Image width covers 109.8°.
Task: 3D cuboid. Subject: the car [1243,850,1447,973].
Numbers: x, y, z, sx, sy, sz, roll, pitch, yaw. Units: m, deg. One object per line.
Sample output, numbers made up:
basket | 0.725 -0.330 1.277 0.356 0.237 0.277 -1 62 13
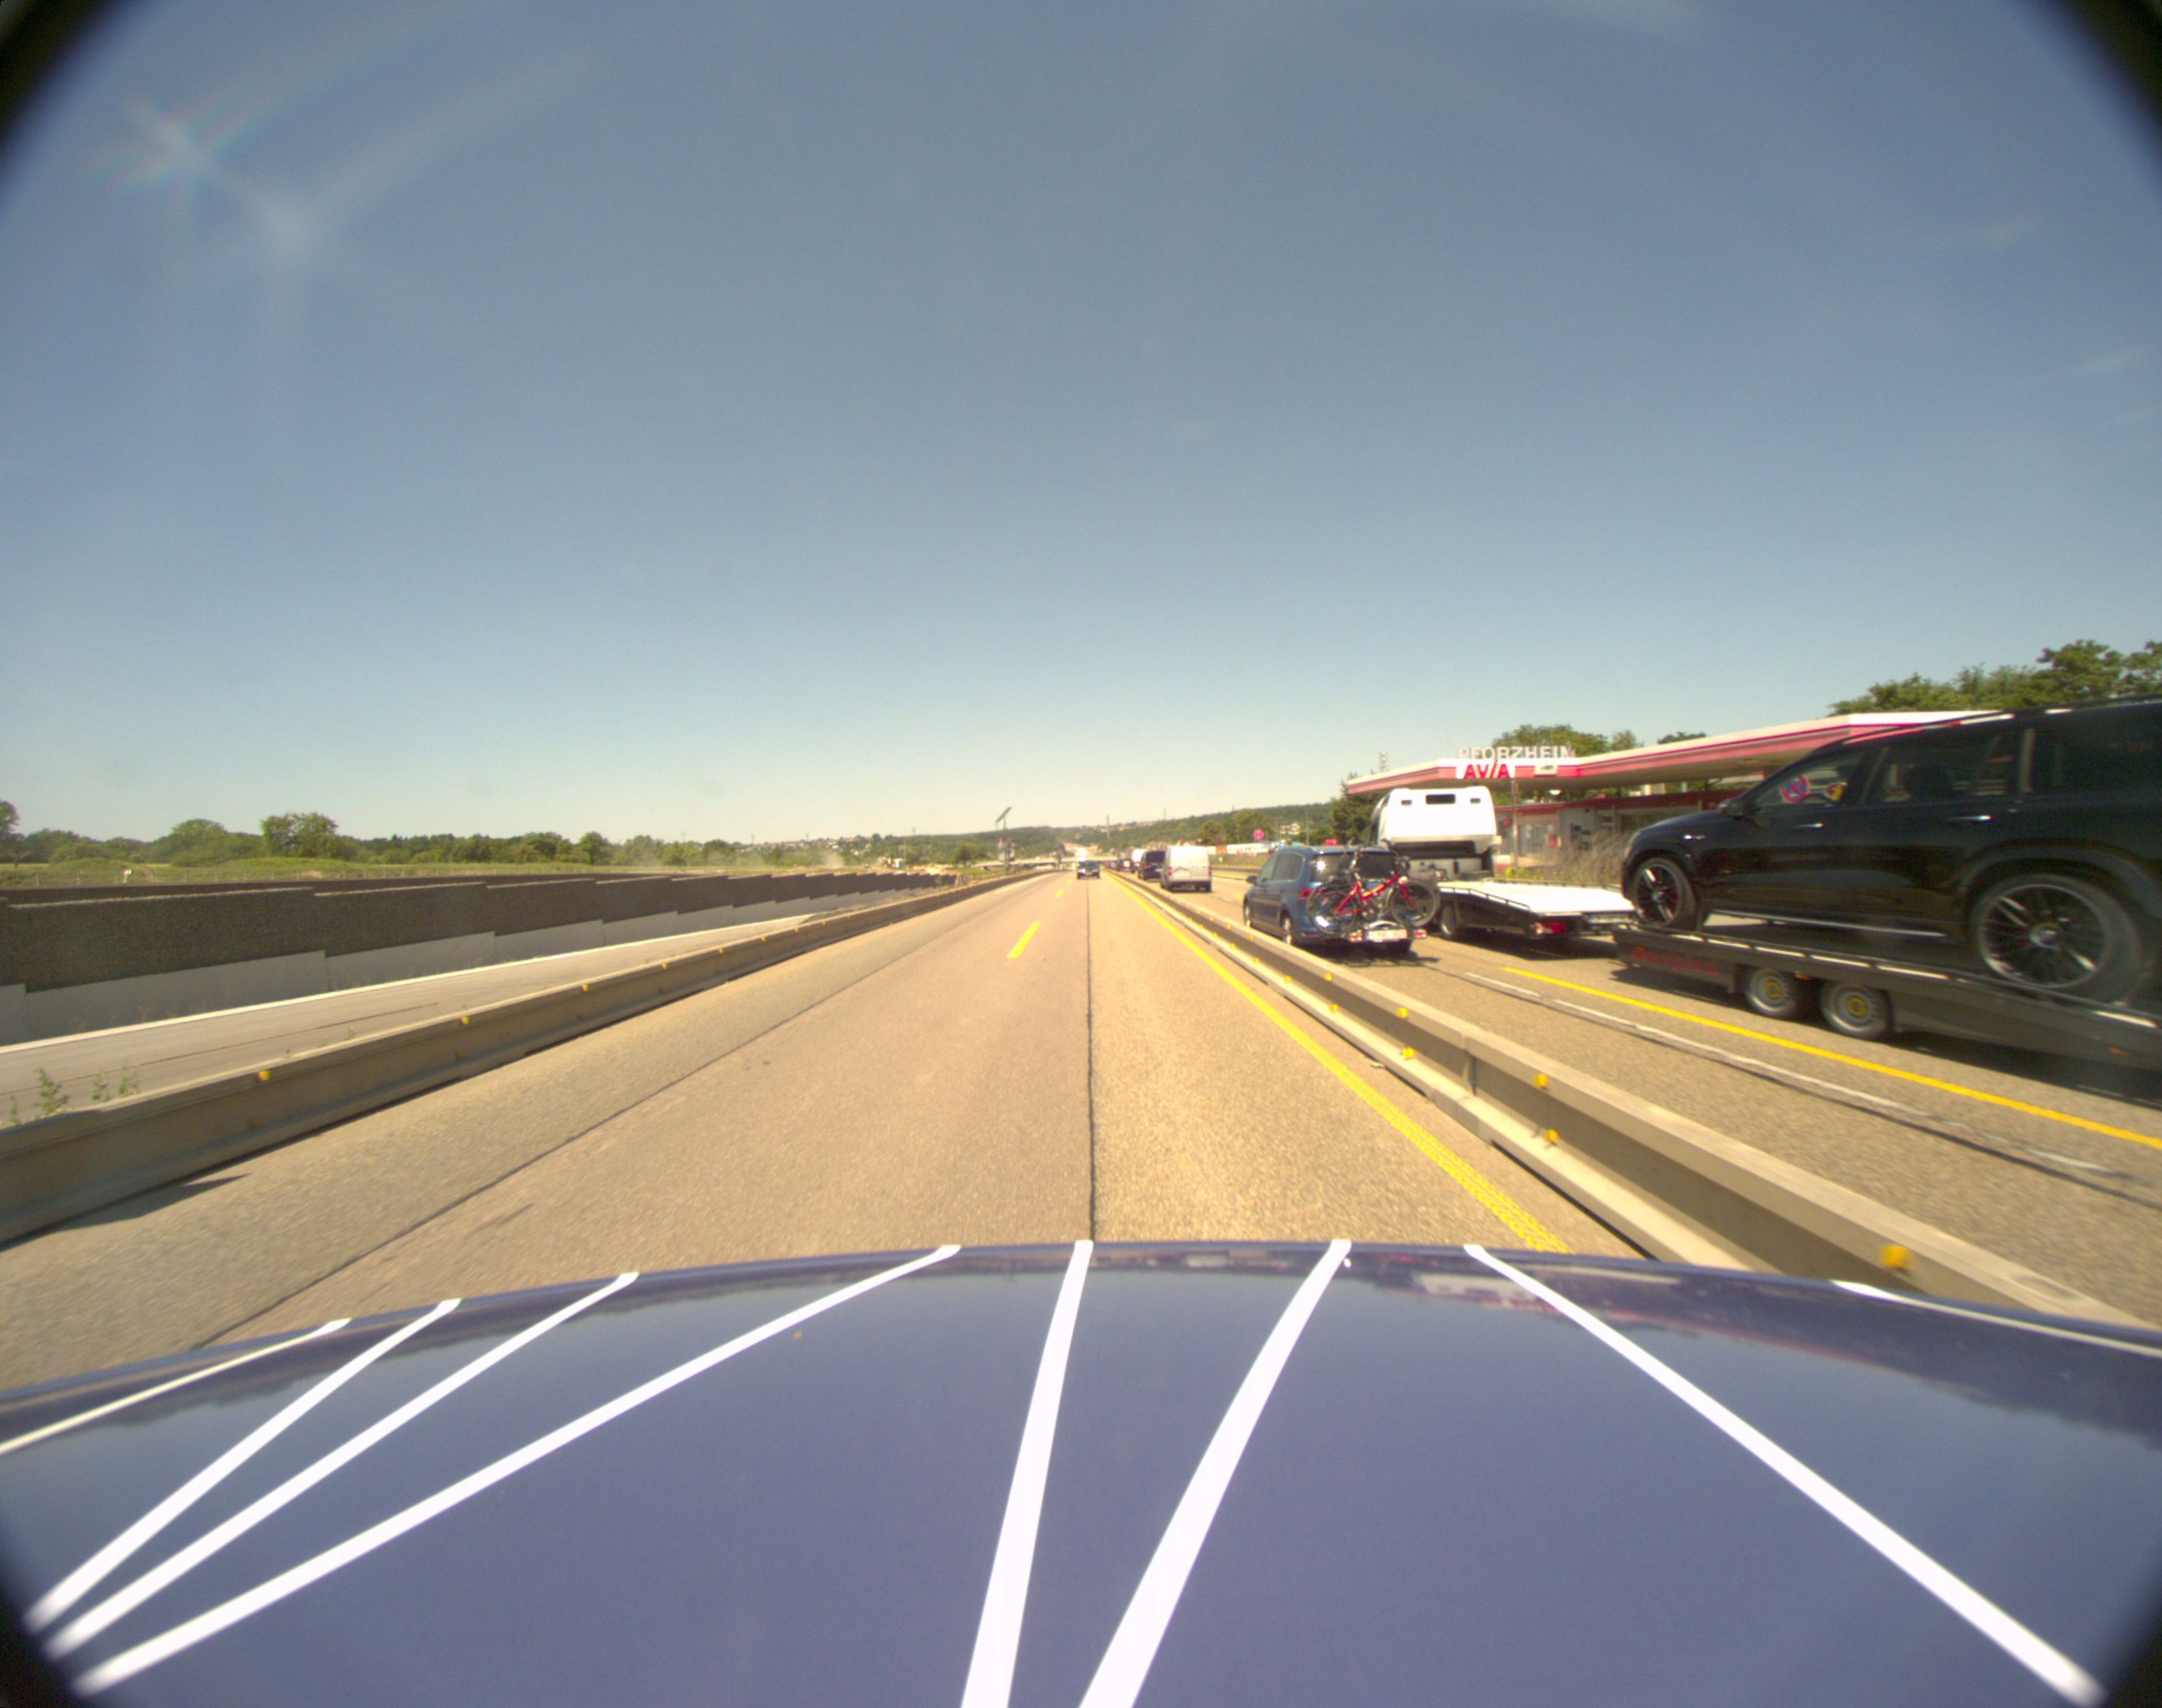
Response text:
car | 3.972 0.791 12.201 1.909 1.599 4.000 -2 0 1

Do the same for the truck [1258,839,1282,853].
truck | 54.604 -2.293 219.398 5.724 3.596 2.585 -5 0 42

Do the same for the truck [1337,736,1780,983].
truck | 6.973 0.065 12.979 2.486 2.808 8.129 -2 0 1

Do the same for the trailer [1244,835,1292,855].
trailer | 49.040 -2.253 199.361 2.865 4.141 12.348 -5 -1 -45

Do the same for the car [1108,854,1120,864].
car | 5.816 0.819 132.832 1.947 1.649 4.745 -1 0 1

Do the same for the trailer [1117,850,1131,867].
trailer | 10.860 1.198 191.551 3.014 4.173 13.853 -2 -1 2

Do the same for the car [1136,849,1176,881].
car | 4.493 0.641 46.011 1.912 1.794 5.082 -1 -1 0

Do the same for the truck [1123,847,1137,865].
truck | 9.443 0.414 147.861 2.395 3.364 7.716 -2 -1 2

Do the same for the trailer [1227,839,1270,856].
trailer | 49.488 -1.922 224.375 2.625 3.762 12.721 -5 -1 -45

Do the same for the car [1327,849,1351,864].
car | 27.065 0.225 79.579 1.500 1.324 4.193 -5 -1 31

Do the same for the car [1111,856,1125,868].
car | 5.383 1.168 111.956 1.943 1.601 4.001 -2 0 2

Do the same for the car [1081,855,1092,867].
car | 1.521 1.957 210.193 2.544 3.126 7.547 -3 -1 -1

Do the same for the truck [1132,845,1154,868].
truck | 8.101 0.337 99.932 2.245 2.770 6.493 -2 0 0

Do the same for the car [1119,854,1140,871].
car | 4.920 0.873 77.355 1.860 1.594 4.736 -1 -1 0

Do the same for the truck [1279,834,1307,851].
truck | 54.130 -2.903 194.182 2.838 3.728 6.131 -5 -1 -45

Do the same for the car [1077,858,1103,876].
car | 0.709 0.962 56.652 1.810 1.299 4.001 -1 -1 1

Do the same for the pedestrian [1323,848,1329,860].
pedestrian | 25.772 -0.017 79.918 0.474 1.197 0.586 -1 0 15

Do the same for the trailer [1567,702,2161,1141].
trailer | 6.766 0.334 6.059 2.187 2.301 5.614 -2 0 1

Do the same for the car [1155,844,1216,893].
car | 4.199 0.572 31.206 1.858 1.829 4.591 -1 -1 0

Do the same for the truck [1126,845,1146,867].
truck | 8.429 0.330 116.695 2.501 3.272 8.117 -1 0 0
